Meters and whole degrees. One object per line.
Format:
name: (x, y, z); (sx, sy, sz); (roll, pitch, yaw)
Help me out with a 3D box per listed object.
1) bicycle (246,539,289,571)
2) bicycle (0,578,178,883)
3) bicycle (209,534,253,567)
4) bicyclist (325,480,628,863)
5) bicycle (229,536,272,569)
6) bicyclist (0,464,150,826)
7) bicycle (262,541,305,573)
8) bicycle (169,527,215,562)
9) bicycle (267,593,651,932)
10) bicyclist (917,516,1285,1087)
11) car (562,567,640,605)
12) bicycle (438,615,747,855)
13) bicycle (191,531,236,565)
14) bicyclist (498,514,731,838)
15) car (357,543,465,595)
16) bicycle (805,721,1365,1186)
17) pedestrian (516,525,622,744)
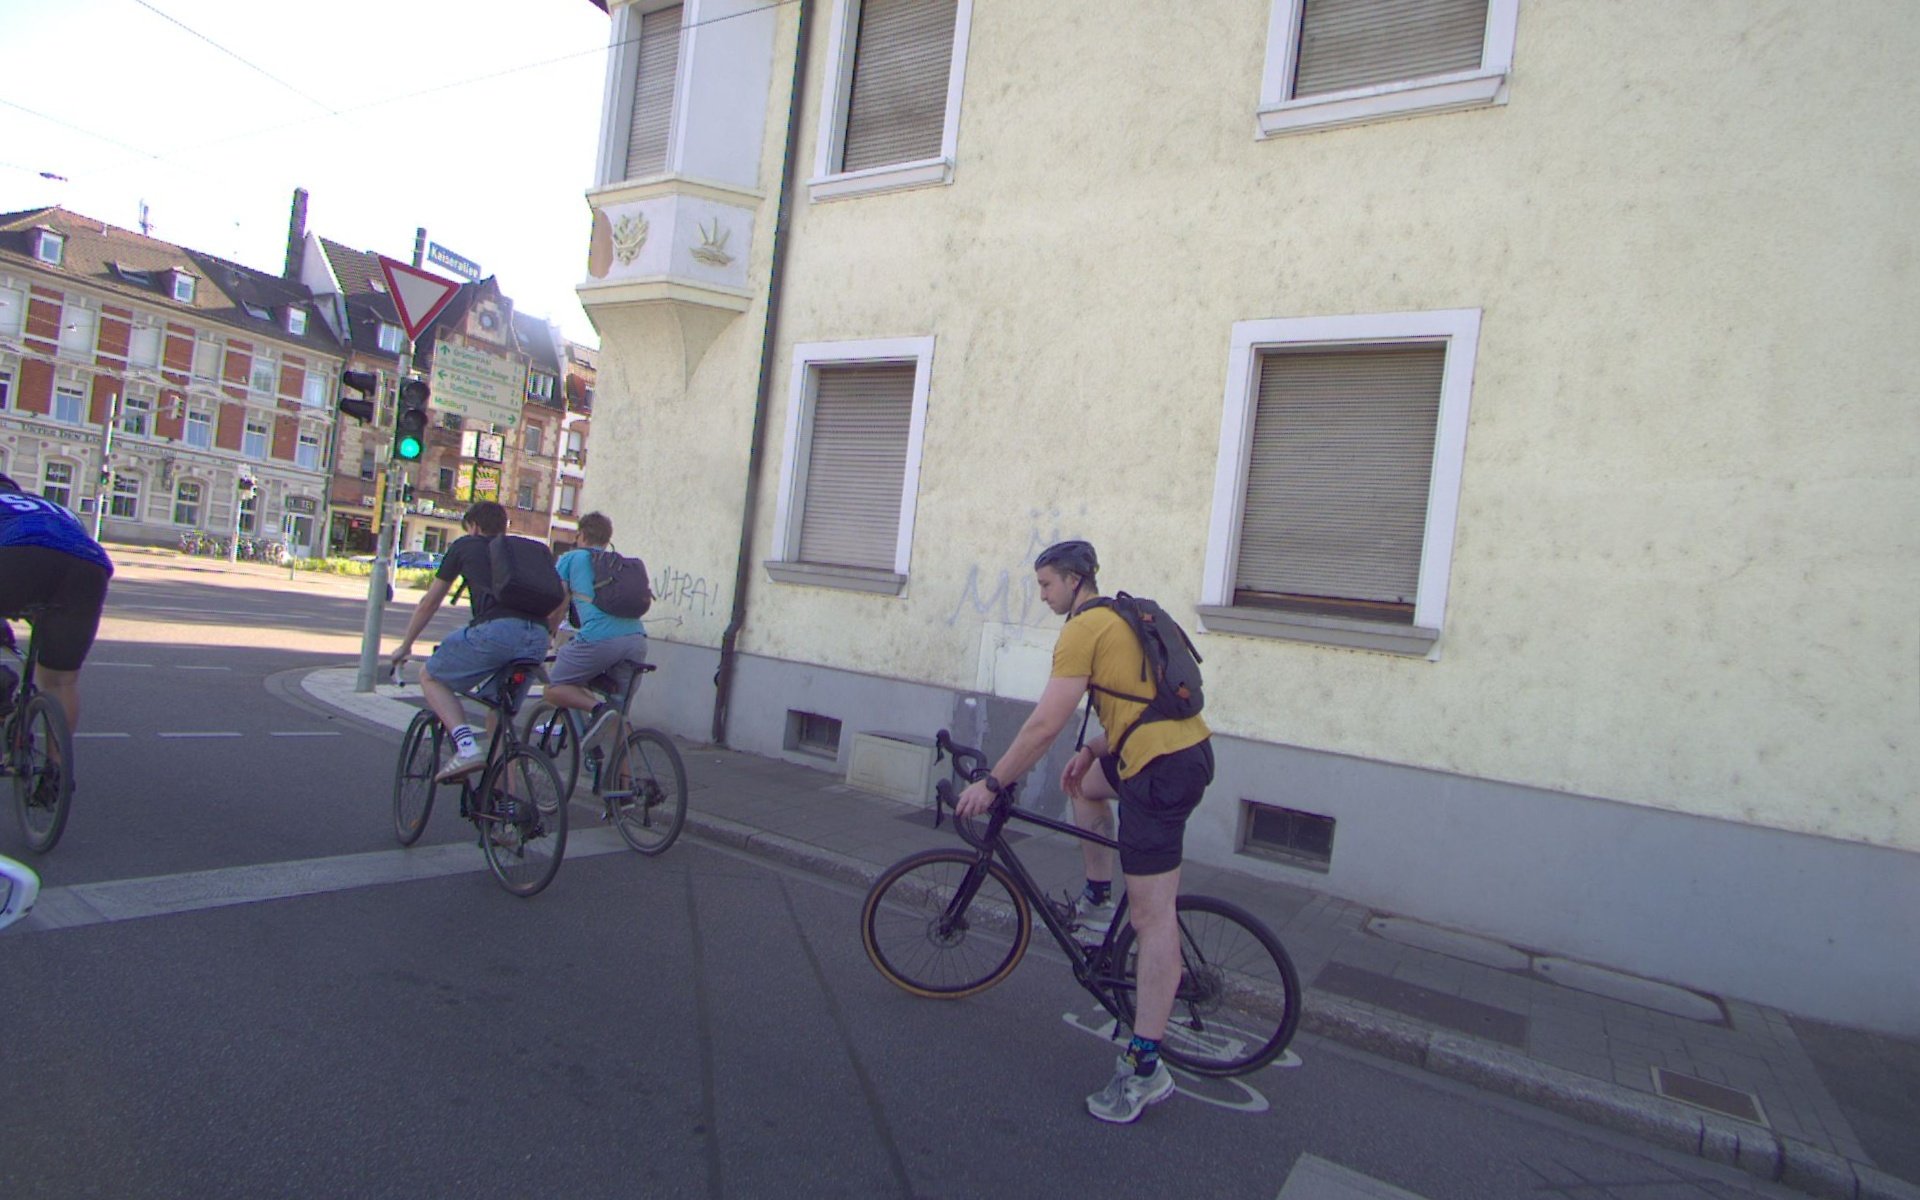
bicycle: (-33.050, -2.155, 47.996); (2.618, 1.301, 0.629); (6, -1, 33)
bicycle: (-4.265, 0.499, 4.512); (1.676, 1.097, 0.627); (6, -1, 35)
bicycle: (-33.834, -2.309, 46.695); (2.618, 1.301, 0.629); (6, -1, 33)
bicyclist: (-2.325, 0.317, 4.886); (0.868, 1.625, 0.807); (7, -1, 30)
bicycle: (-33.416, -2.233, 47.367); (2.618, 1.301, 0.629); (6, -1, 33)
bicyclist: (-4.285, 0.158, 4.524); (0.869, 1.512, 0.639); (9, 0, 36)
bicycle: (-32.680, -2.080, 48.586); (2.618, 1.301, 0.629); (6, -1, 33)
bicycle: (-34.620, -2.513, 45.342); (2.618, 1.301, 0.693); (6, -1, 33)
bicycle: (-2.454, 0.701, 4.894); (1.674, 1.251, 0.756); (6, -1, 30)
bicyclist: (0.528, 0.624, 3.595); (0.869, 1.682, 0.807); (6, -1, 32)
car: (-23.245, -0.886, 65.290); (1.967, 1.798, 4.374); (6, -2, 31)
bicycle: (-2.156, 0.720, 5.821); (1.742, 1.043, 0.650); (6, -1, 33)
bicycle: (-34.201, -2.373, 46.070); (2.618, 1.301, 0.693); (6, -1, 33)
bicyclist: (-1.966, 0.405, 5.736); (0.869, 1.652, 0.690); (6, -1, 34)
car: (-25.501, -1.426, 46.853); (1.967, 1.798, 3.790); (6, -2, 31)
bicycle: (0.409, 1.091, 3.633); (1.751, 1.043, 0.756); (6, -2, 33)
pedestrian: (-3.352, 0.283, 8.659); (0.631, 1.780, 0.584); (4, 3, -7)
